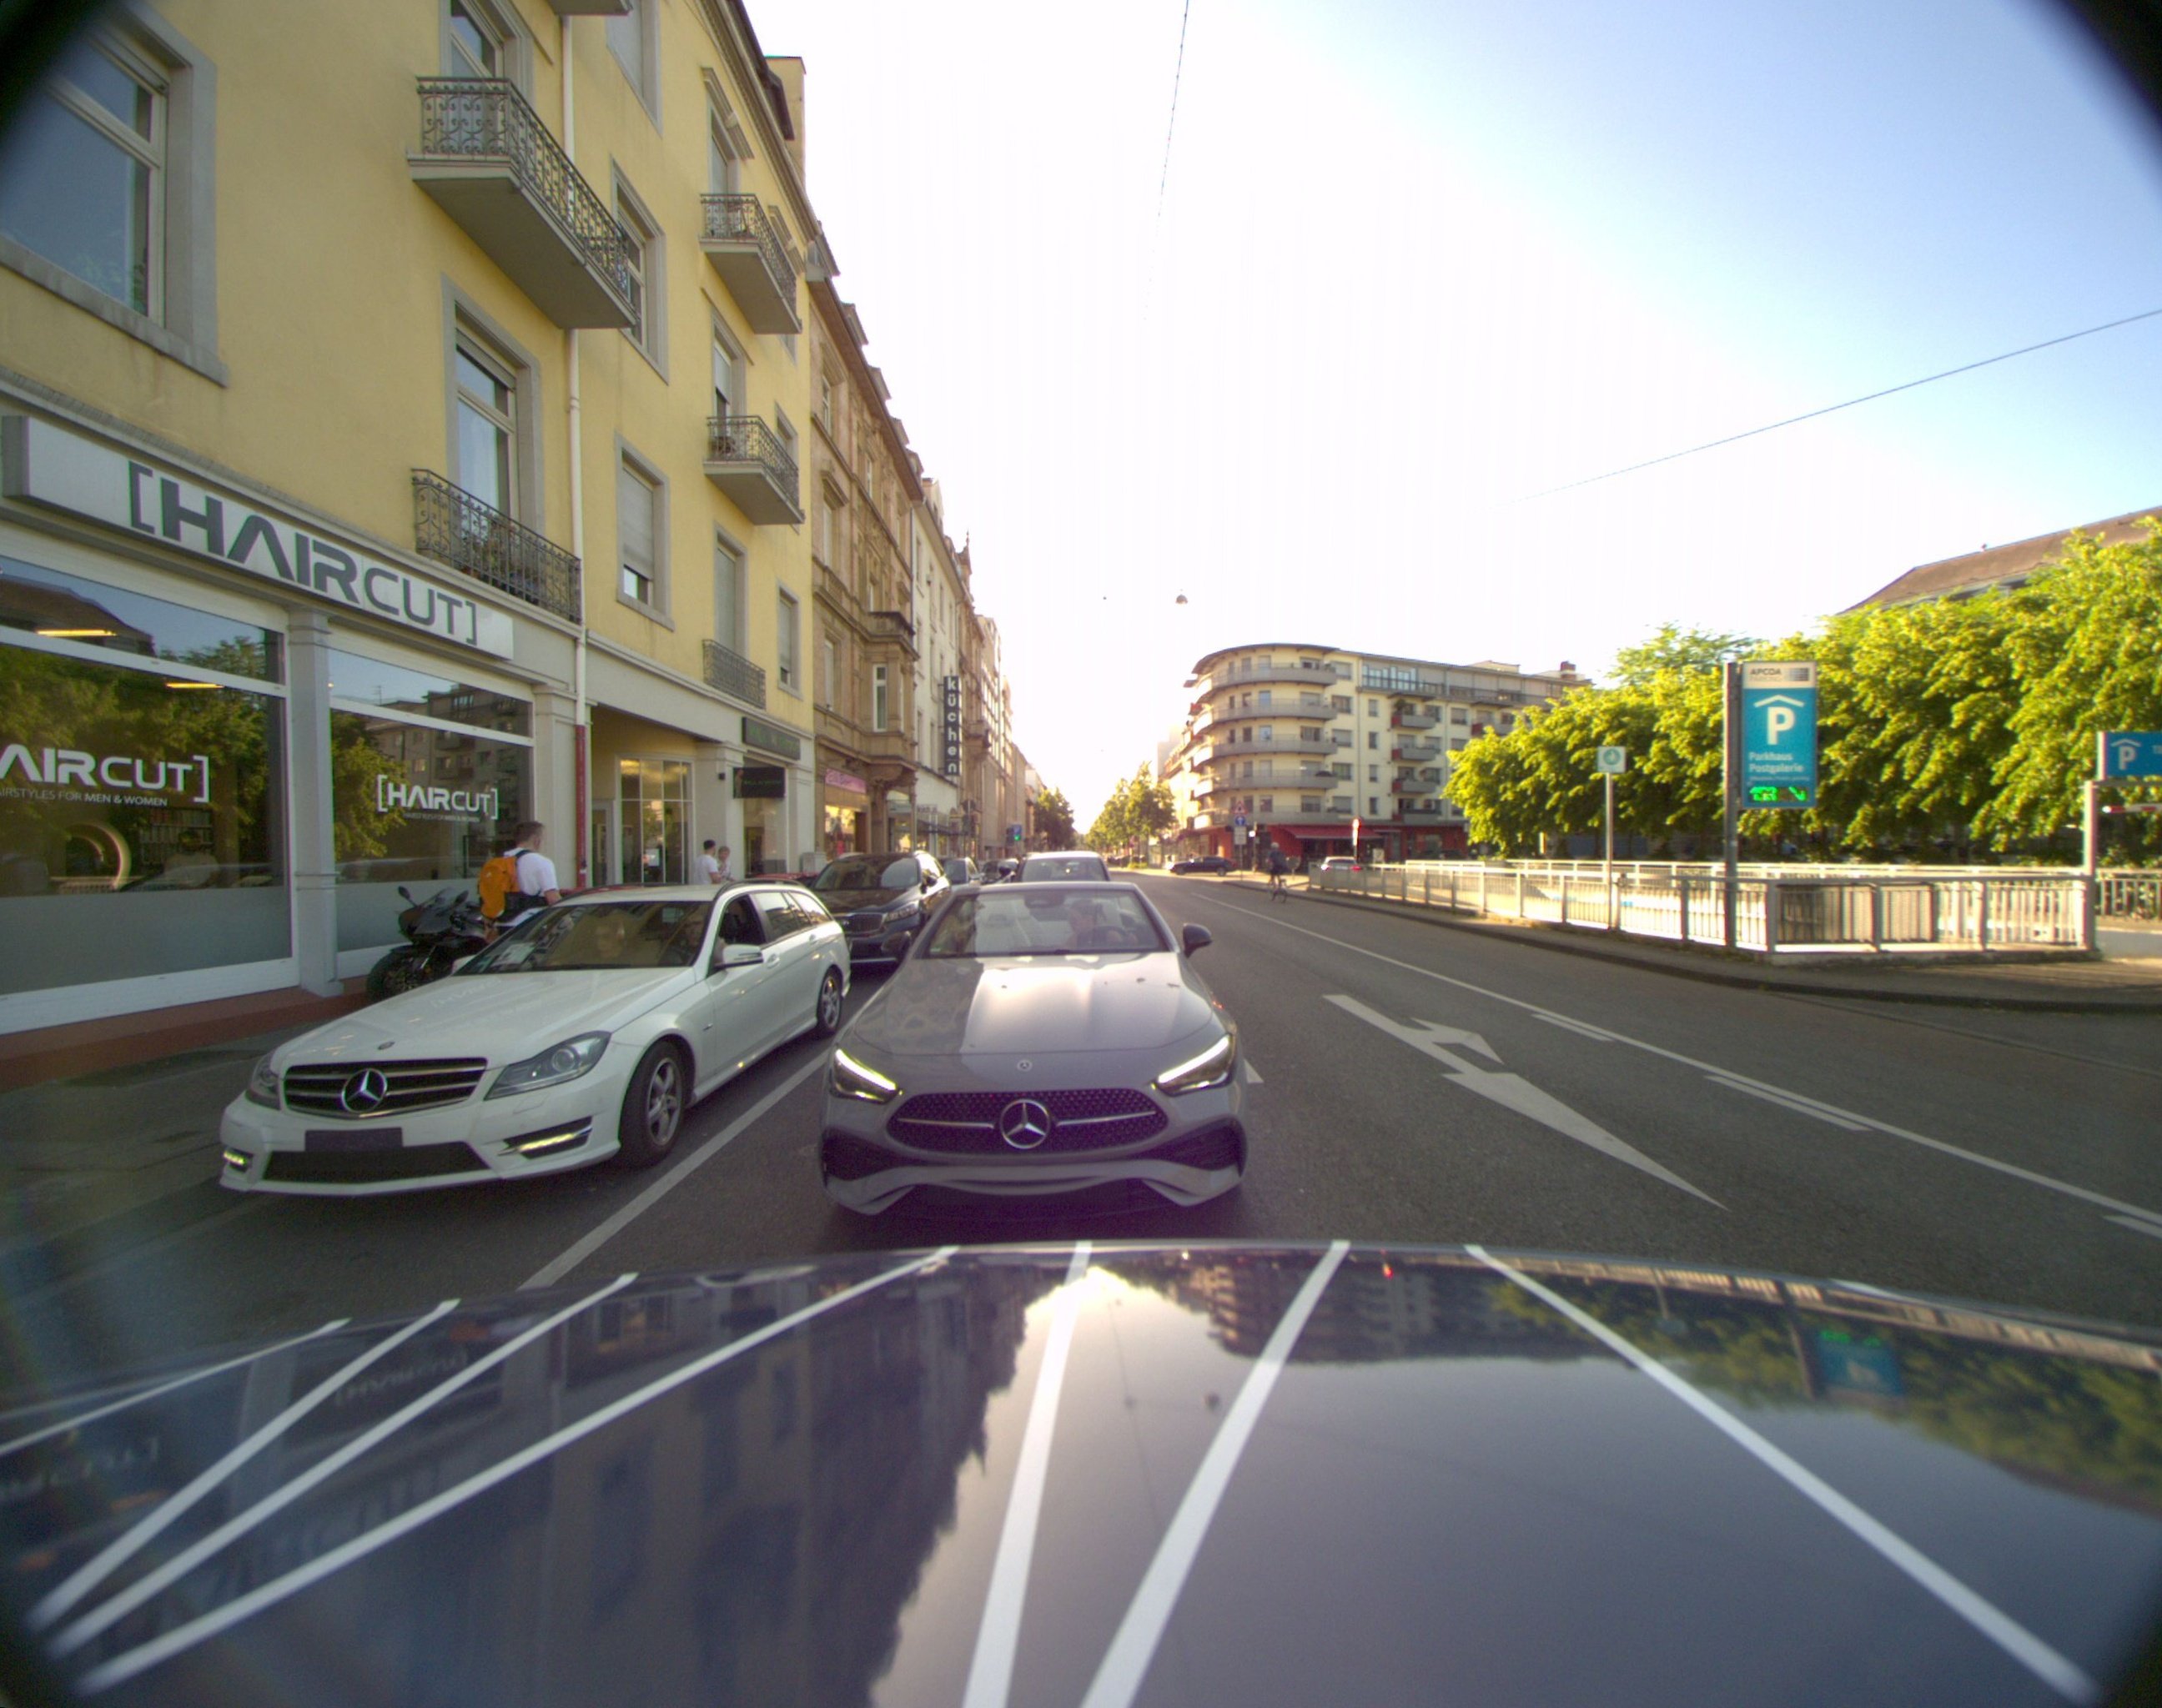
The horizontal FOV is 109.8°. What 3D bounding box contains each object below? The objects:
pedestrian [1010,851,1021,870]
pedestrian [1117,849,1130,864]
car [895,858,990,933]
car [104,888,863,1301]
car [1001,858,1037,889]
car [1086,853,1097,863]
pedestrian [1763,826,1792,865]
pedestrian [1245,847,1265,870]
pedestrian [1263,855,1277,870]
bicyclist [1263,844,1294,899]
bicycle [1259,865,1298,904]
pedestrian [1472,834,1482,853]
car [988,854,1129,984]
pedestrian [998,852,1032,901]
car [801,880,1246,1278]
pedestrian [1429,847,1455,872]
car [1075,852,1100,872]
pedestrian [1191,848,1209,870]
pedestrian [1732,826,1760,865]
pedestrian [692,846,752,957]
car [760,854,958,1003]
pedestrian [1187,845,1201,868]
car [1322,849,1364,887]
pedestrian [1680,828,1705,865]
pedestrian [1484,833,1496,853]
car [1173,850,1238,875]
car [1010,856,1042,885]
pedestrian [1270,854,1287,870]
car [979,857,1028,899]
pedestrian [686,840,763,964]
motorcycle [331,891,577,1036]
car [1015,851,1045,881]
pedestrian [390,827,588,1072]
[{"bbox_3d":[-6.027,0.586,69.765,0.826,1.750,0.823,-2,1,-1],"label":"pedestrian"},{"bbox_3d":[5.315,0.295,94.929,1.219,1.826,1.205,-2,1,25],"label":"pedestrian"},{"bbox_3d":[-3.185,0.904,17.986,1.583,1.514,2.998,-2,1,1],"label":"car"},{"bbox_3d":[-3.029,1.072,5.244,1.672,1.364,4.377,-2,1,1],"label":"car"},{"bbox_3d":[-2.958,0.898,36.678,1.461,1.310,3.363,-2,1,-1],"label":"car"},{"bbox_3d":[2.047,0.719,150.823,1.836,1.831,3.886,1,1,-2],"label":"car"},{"bbox_3d":[33.444,-0.429,36.474,0.748,1.832,0.683,-2,1,-13],"label":"pedestrian"},{"bbox_3d":[13.550,0.352,59.182,1.063,1.739,0.960,-3,1,-38],"label":"pedestrian"},{"bbox_3d":[14.918,0.662,60.036,0.780,1.191,0.884,-2,1,-10],"label":"pedestrian"},{"bbox_3d":[6.315,0.538,24.336,0.703,1.700,0.809,-2,1,-3],"label":"bicyclist"},{"bbox_3d":[6.308,0.947,24.359,0.618,1.156,1.956,1,1,-4],"label":"bicycle"},{"bbox_3d":[38.477,-1.038,73.778,0.745,1.832,0.685,-1,1,31],"label":"pedestrian"},{"bbox_3d":[-0.368,0.893,12.754,1.866,1.658,4.706,-2,1,-2],"label":"car"},{"bbox_3d":[-2.327,0.788,26.871,0.836,1.709,0.821,-2,1,19],"label":"pedestrian"},{"bbox_3d":[-0.284,0.997,5.355,1.769,1.360,4.471,-2,1,-2],"label":"car"},{"bbox_3d":[25.094,0.367,52.838,1.271,1.656,1.140,-2,1,6],"label":"pedestrian"},{"bbox_3d":[0.494,0.586,60.209,1.695,1.437,3.575,-2,1,-3],"label":"car"},{"bbox_3d":[9.762,0.389,62.342,1.069,1.709,1.080,-2,1,-10],"label":"pedestrian"},{"bbox_3d":[32.174,-0.393,36.746,0.748,1.852,0.683,-2,1,-13],"label":"pedestrian"},{"bbox_3d":[-6.152,0.794,13.057,0.630,1.826,0.770,-2,1,-7],"label":"pedestrian"},{"bbox_3d":[-3.016,0.889,11.335,1.806,1.680,4.408,-2,1,-3],"label":"car"},{"bbox_3d":[9.920,0.206,66.704,0.990,1.908,0.790,-2,1,-3],"label":"pedestrian"},{"bbox_3d":[11.777,0.597,34.310,1.635,1.521,3.912,-2,1,17],"label":"car"},{"bbox_3d":[31.653,-0.388,39.347,0.748,1.832,0.683,-3,1,-21],"label":"pedestrian"},{"bbox_3d":[38.361,-1.006,71.308,0.747,1.832,0.684,-2,1,1],"label":"pedestrian"},{"bbox_3d":[8.633,0.570,52.456,4.242,1.521,1.678,-2,1,14],"label":"car"},{"bbox_3d":[-2.946,0.864,40.946,1.461,1.391,3.362,-2,1,-1],"label":"car"},{"bbox_3d":[15.425,0.650,59.377,0.937,1.191,0.832,-3,1,-24],"label":"pedestrian"},{"bbox_3d":[-3.030,0.901,30.309,1.695,1.482,3.796,-2,1,-3],"label":"car"},{"bbox_3d":[-5.653,0.728,12.062,0.975,1.866,0.534,-3,1,-31],"label":"pedestrian"},{"bbox_3d":[-6.258,1.023,7.785,0.735,1.124,2.109,2,1,1],"label":"motorcycle"},{"bbox_3d":[-3.157,0.714,47.544,1.695,1.670,3.880,-2,1,-3],"label":"car"},{"bbox_3d":[-4.745,0.705,6.163,0.810,1.812,0.982,2,1,4],"label":"pedestrian"}]
